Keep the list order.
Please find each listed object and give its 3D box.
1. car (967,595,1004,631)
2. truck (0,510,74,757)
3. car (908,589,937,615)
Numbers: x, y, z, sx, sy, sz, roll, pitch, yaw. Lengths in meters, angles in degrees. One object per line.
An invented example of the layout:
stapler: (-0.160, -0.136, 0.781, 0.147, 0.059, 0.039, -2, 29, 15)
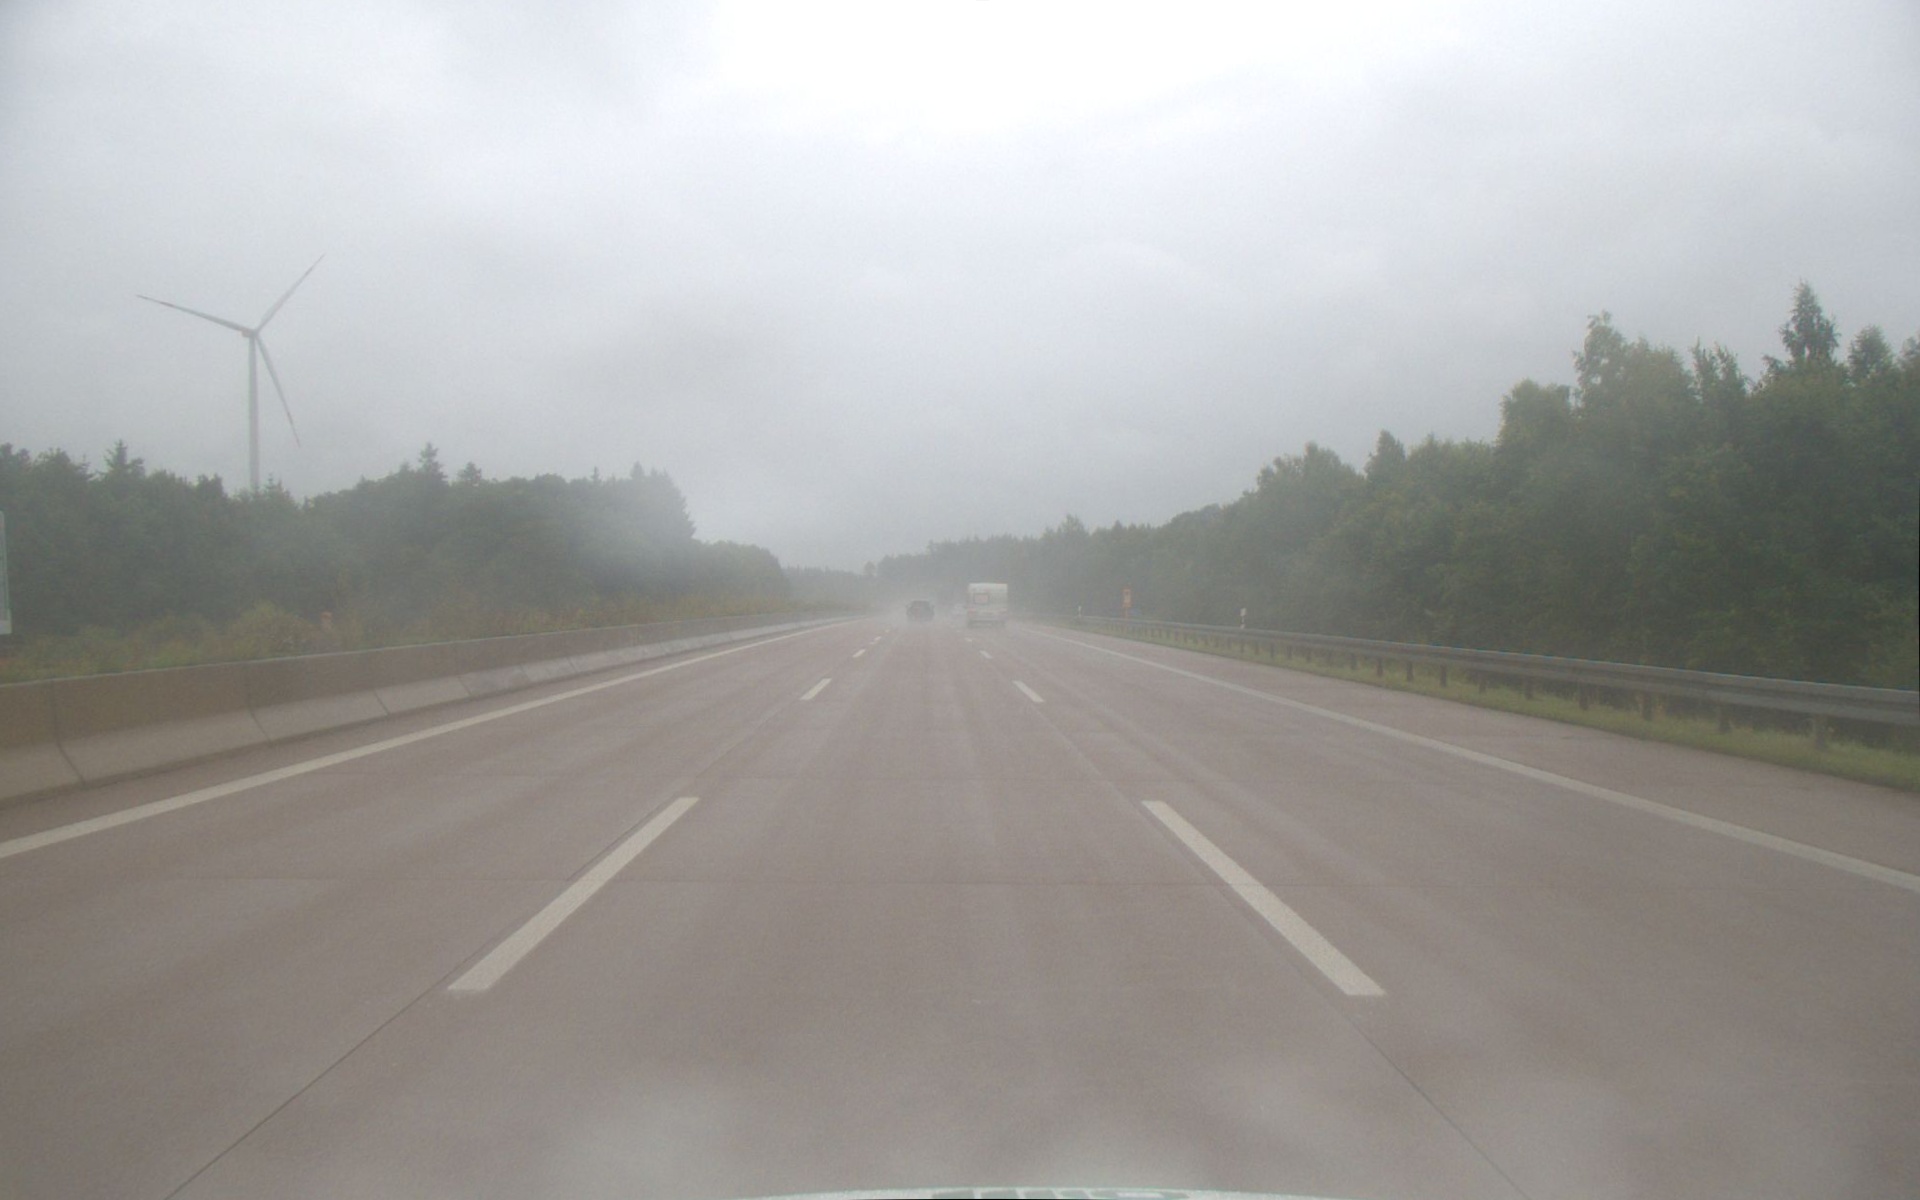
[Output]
car: (1.464, 0.748, 96.019, 2.016, 2.035, 4.098, 0, 0, 0)
truck: (-19.205, 0.608, 28.176, 3.081, 4.550, 9.557, 1, 0, 0)
car: (-2.582, 0.140, 113.945, 1.897, 1.760, 4.130, 1, 0, 0)
